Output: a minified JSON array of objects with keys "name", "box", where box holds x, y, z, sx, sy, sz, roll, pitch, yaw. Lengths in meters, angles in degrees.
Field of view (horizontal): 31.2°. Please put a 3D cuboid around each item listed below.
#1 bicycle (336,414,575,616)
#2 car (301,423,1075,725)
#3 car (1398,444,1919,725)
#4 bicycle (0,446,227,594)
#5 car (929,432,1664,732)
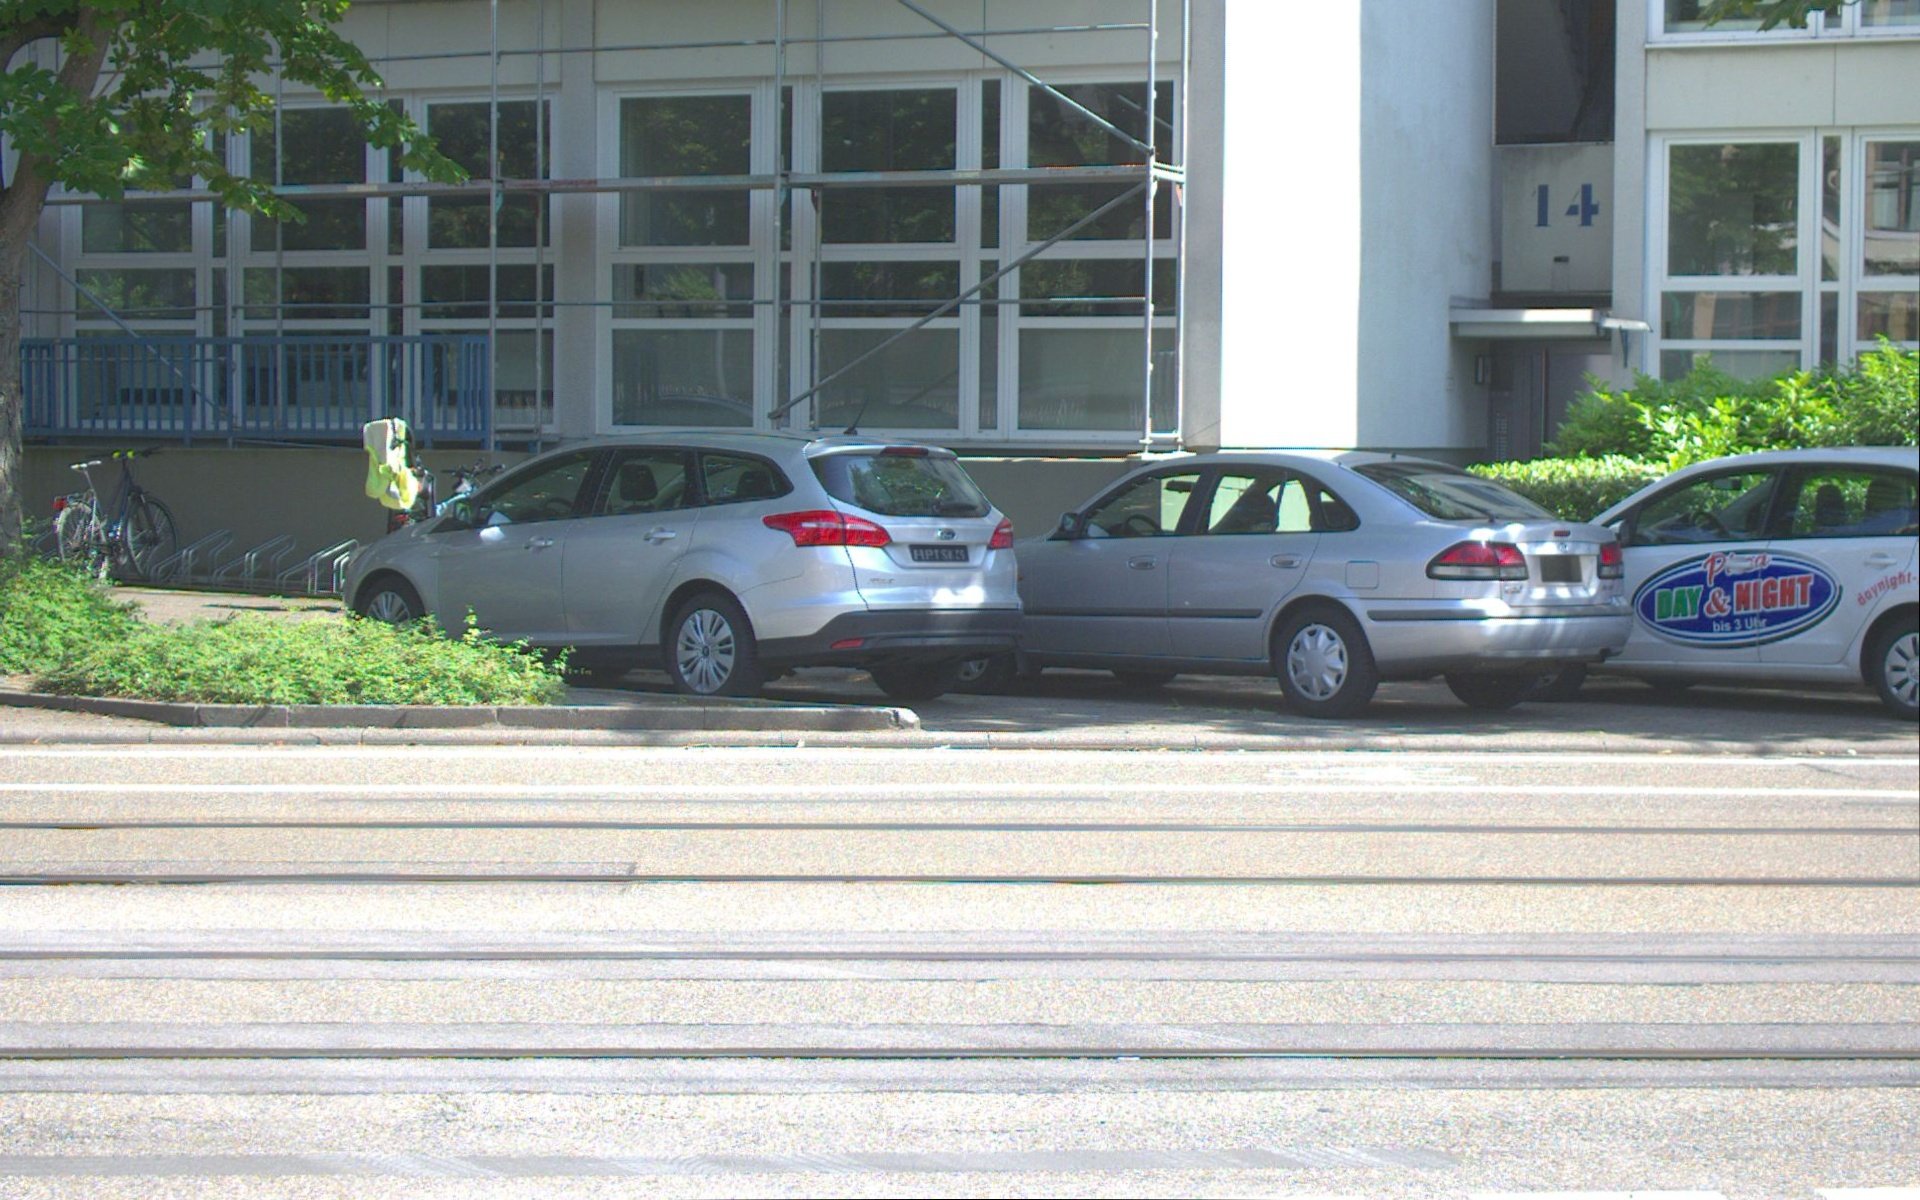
[{"name":"bicycle","box":[-3.770,-0.660,25.878,0.662,1.448,2.087,2,3,28]},{"name":"car","box":[-1.631,-0.231,19.420,4.432,1.481,1.780,3,4,42]},{"name":"car","box":[4.593,-0.139,19.657,3.942,1.481,1.609,2,3,43]},{"name":"bicycle","box":[-6.544,-0.645,26.677,0.741,1.082,2.202,1,3,15]},{"name":"car","box":[1.802,-0.180,19.312,3.943,1.481,1.609,3,4,44]}]
